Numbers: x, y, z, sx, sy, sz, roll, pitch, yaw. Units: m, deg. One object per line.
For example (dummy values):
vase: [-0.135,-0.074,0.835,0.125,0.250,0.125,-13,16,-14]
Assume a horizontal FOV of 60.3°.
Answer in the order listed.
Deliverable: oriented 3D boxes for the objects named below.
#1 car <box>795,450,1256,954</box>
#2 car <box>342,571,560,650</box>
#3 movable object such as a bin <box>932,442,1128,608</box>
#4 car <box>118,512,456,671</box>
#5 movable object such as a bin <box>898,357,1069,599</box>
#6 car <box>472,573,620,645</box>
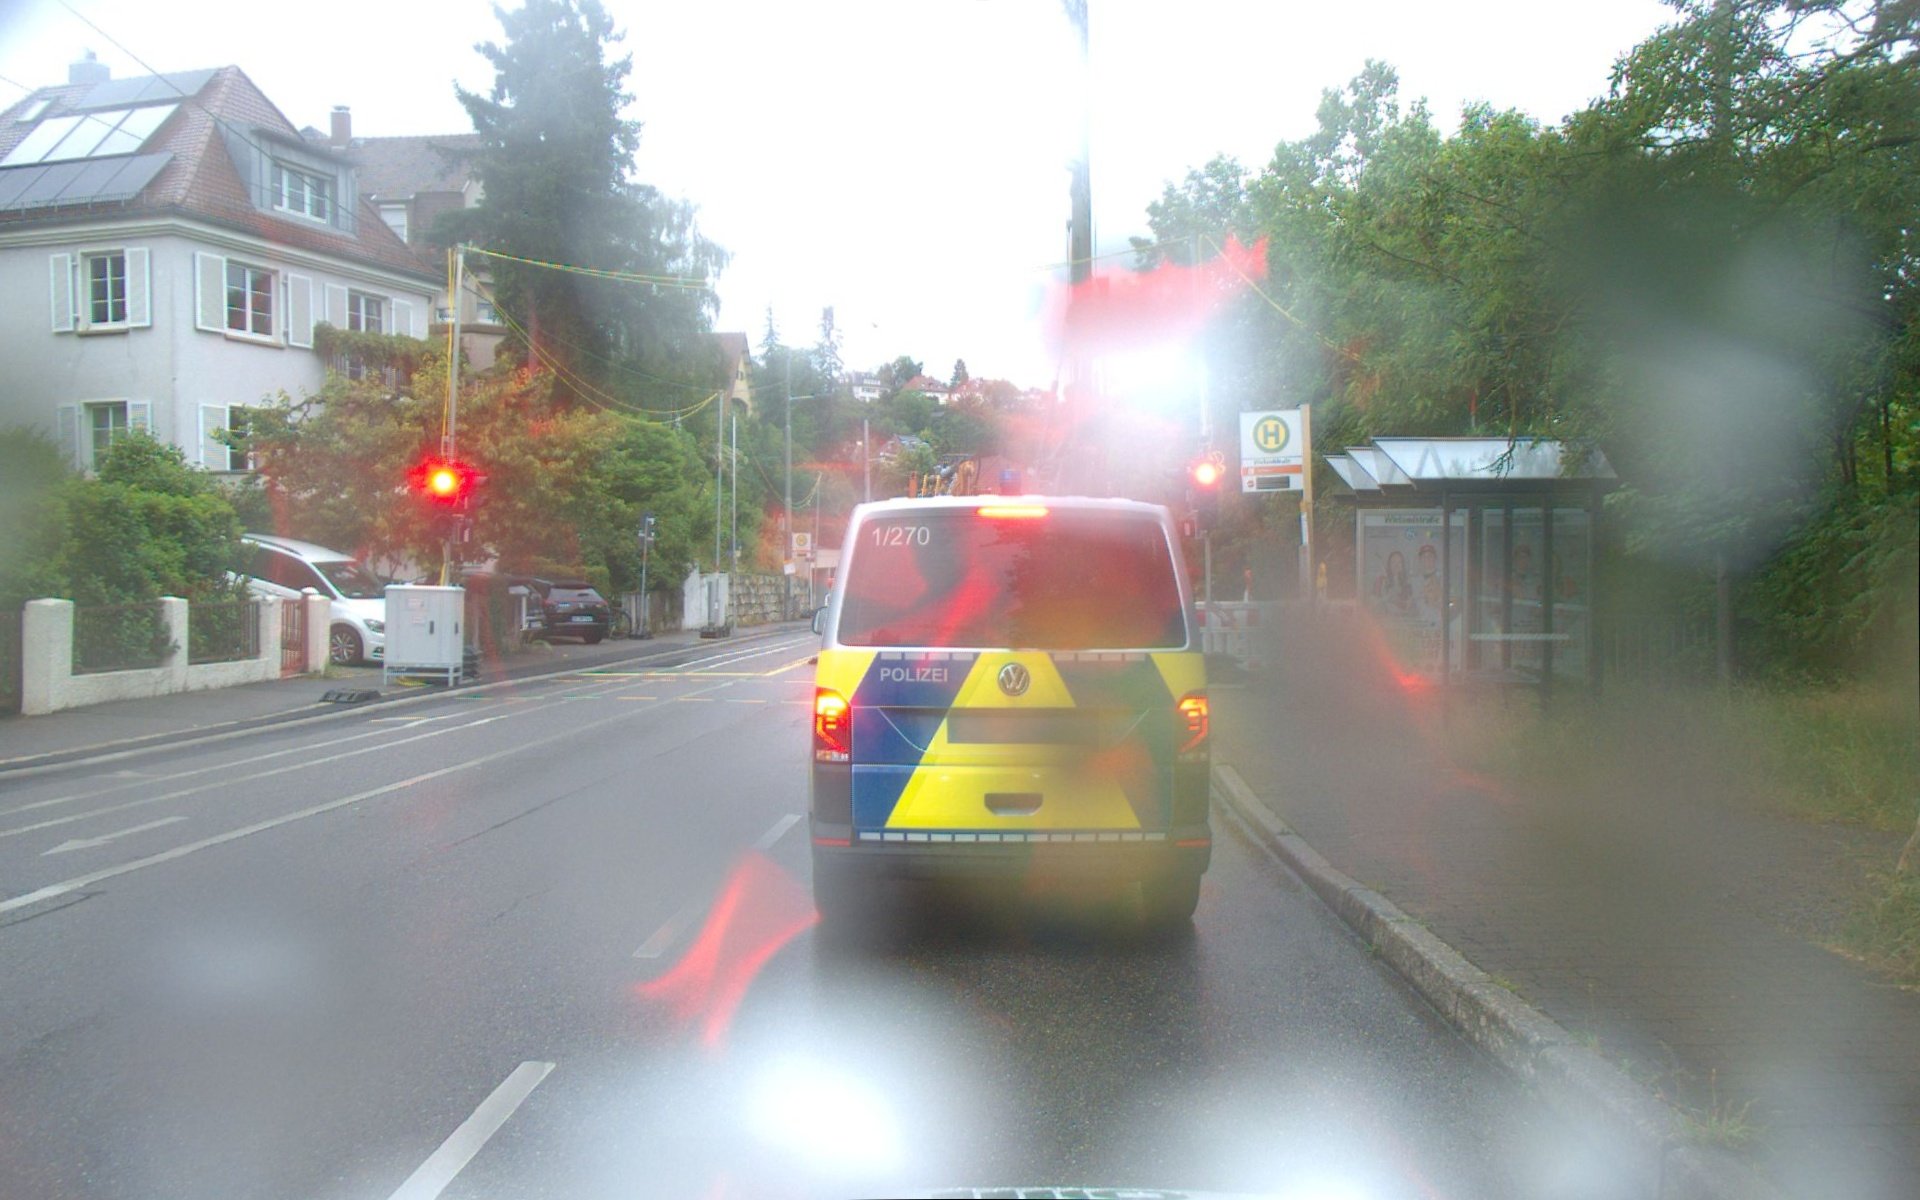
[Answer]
car: [0.243,0.431,9.033,1.869,2.046,4.438,1,0,-1]
car: [-10.663,0.213,34.735,3.902,1.552,1.942,1,0,12]
movable object such as a bin: [2.484,-2.378,55.925,3.615,5.155,7.147,-1,-1,31]
car: [-11.107,-0.176,27.367,4.865,1.642,1.865,11,4,13]
movable object such as a bin: [0.557,-2.204,31.652,2.817,4.243,4.491,-1,1,6]
car: [-9.502,0.178,37.755,1.769,1.552,3.943,1,0,-39]
